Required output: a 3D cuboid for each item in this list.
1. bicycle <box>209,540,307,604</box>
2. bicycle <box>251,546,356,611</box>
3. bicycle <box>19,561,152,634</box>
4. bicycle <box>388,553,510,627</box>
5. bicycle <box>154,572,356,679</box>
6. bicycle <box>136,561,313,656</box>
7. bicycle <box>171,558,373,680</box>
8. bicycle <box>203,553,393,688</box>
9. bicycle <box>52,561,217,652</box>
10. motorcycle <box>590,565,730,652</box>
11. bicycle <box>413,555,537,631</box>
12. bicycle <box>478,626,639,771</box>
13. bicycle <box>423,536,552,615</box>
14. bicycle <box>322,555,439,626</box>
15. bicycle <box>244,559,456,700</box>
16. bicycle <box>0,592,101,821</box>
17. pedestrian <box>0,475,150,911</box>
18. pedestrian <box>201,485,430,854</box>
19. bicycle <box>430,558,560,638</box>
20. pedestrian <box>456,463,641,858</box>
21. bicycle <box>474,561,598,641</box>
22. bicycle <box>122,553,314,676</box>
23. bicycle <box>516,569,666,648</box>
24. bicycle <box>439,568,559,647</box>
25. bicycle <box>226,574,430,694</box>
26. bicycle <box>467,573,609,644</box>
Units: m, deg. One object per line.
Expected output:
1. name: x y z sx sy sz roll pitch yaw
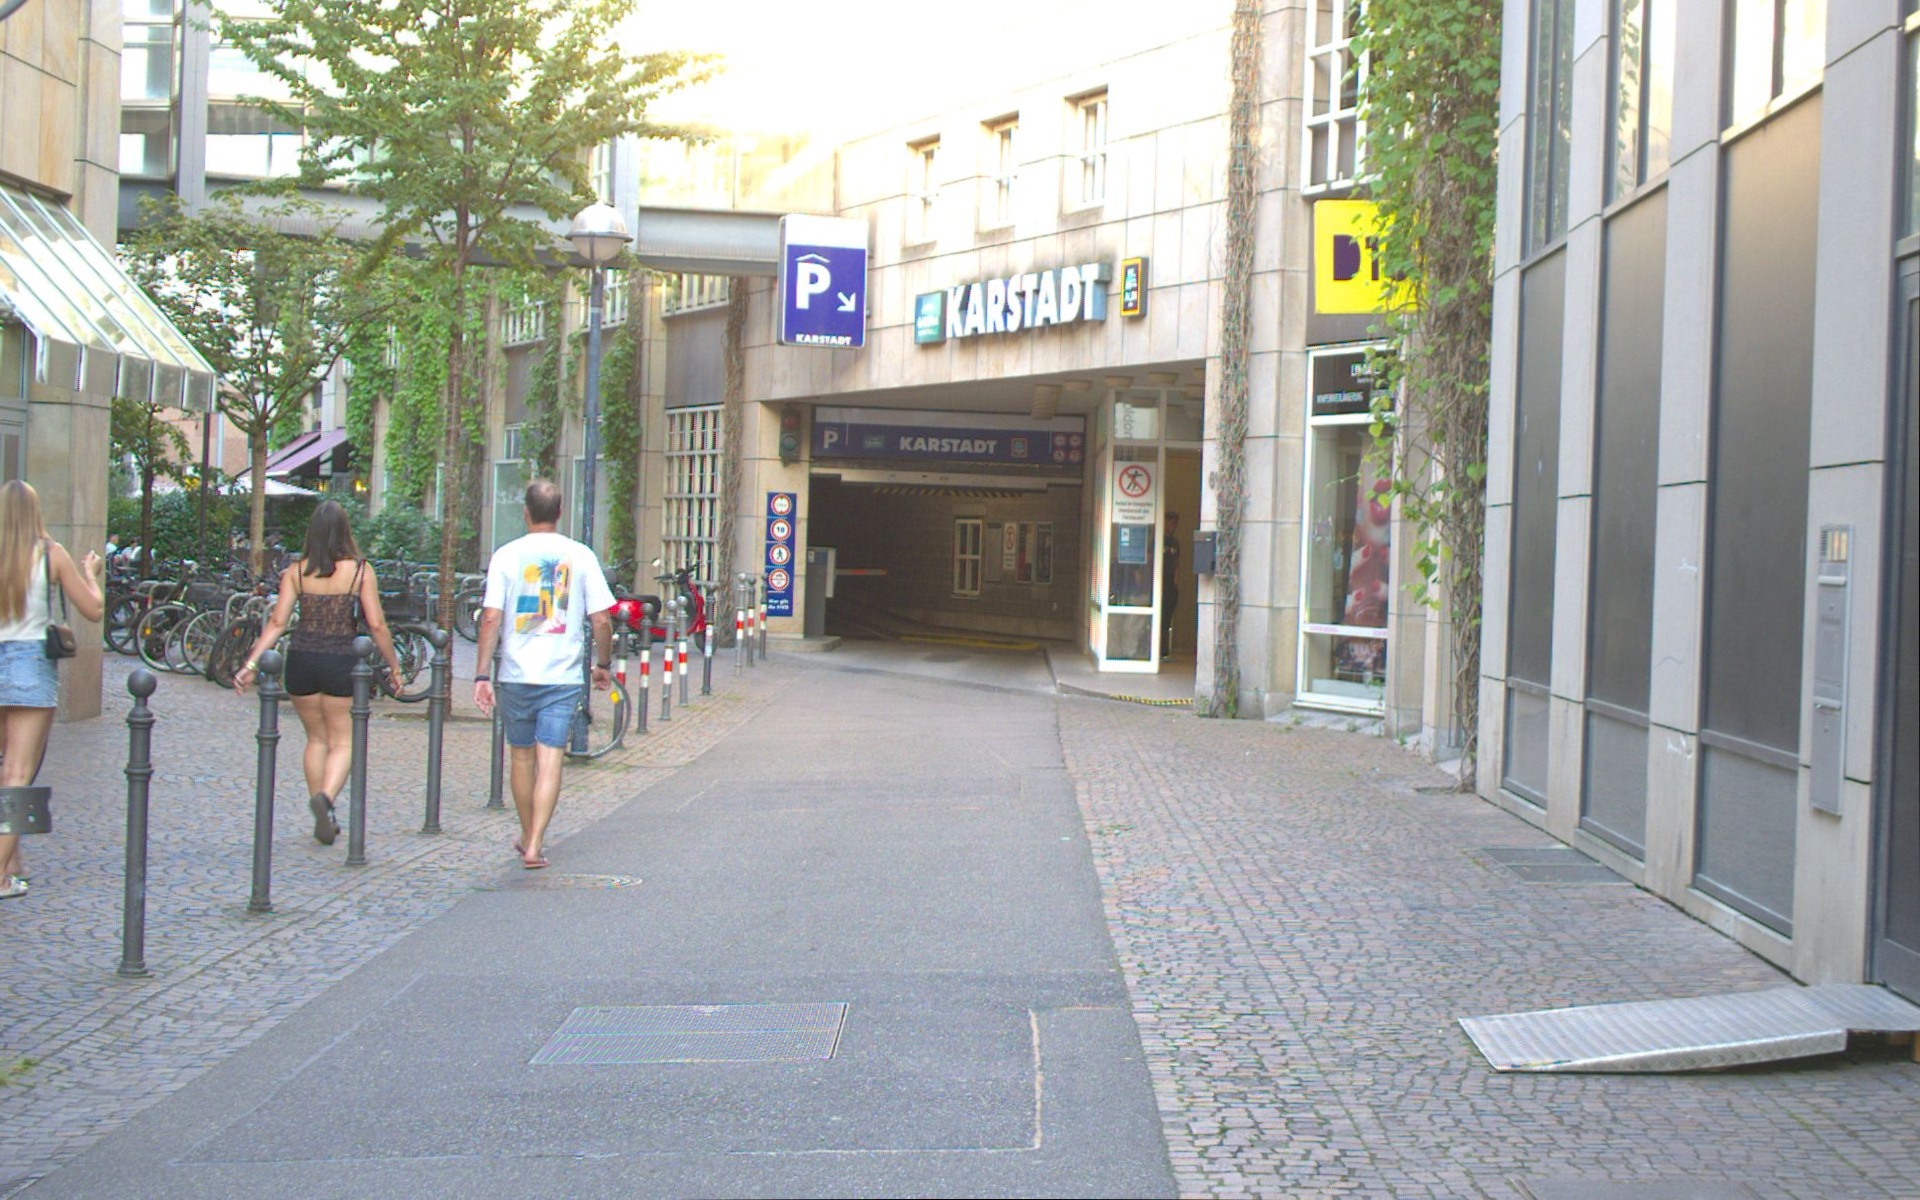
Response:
1. bicycle: -13.554 -0.538 66.399 1.773 1.186 0.586 1 1 -20
2. bicycle: -11.684 -0.379 61.189 1.773 1.110 0.543 1 1 -17
3. bicycle: -12.504 -0.028 49.150 1.779 1.016 0.481 1 1 -22
4. bicycle: -7.892 -0.153 53.119 1.773 1.110 0.543 1 1 -20
5. bicycle: -7.038 0.257 34.325 1.893 1.048 0.534 1 1 -22
6. bicycle: -8.299 0.096 38.796 1.876 1.039 0.534 1 1 -22
7. bicycle: -6.759 0.192 33.791 1.872 1.173 0.534 1 1 -22
8. bicycle: -6.149 0.192 31.939 1.653 1.226 0.534 1 1 -22
9. bicycle: -9.741 0.080 40.569 1.824 1.039 0.534 1 1 -22
10. motorcycle: -3.737 0.104 42.854 1.662 1.047 0.464 1 1 -20
11. bicycle: -7.350 -0.109 52.083 1.773 1.110 0.543 1 1 -20
12. bicycle: -2.807 0.676 24.185 0.493 0.935 1.658 3 1 15
13. bicycle: -6.992 -0.367 50.876 1.773 1.110 0.543 2 1 -20
14. bicycle: -9.334 -0.150 55.391 1.773 1.110 0.543 1 1 -20
15. bicycle: -5.437 0.263 30.654 1.766 1.226 0.534 1 1 -22
16. bicycle: -5.049 0.538 17.391 0.522 1.134 1.763 2 1 17
17. pedestrian: -3.962 0.354 14.172 0.807 1.723 0.948 2 1 15
18. pedestrian: -3.240 0.330 17.349 0.785 1.789 0.971 1 1 12
19. bicycle: -6.731 -0.028 49.801 1.773 1.110 0.543 1 1 -20
20. pedestrian: -1.953 0.275 16.408 0.742 1.816 0.878 1 1 0
21. bicycle: -5.701 0.014 46.243 1.539 1.045 0.575 1 1 -20
22. bicycle: -7.553 0.150 35.003 1.833 1.221 0.534 1 1 -22
23. bicycle: -4.763 0.112 44.433 1.847 0.979 0.464 1 1 -20
24. bicycle: -6.333 0.098 47.228 1.539 1.045 0.575 1 1 -20
25. bicycle: -6.033 0.329 32.831 1.836 1.118 0.534 1 1 -22
26. bicycle: -5.560 0.108 45.292 1.773 0.901 0.464 1 1 -20
